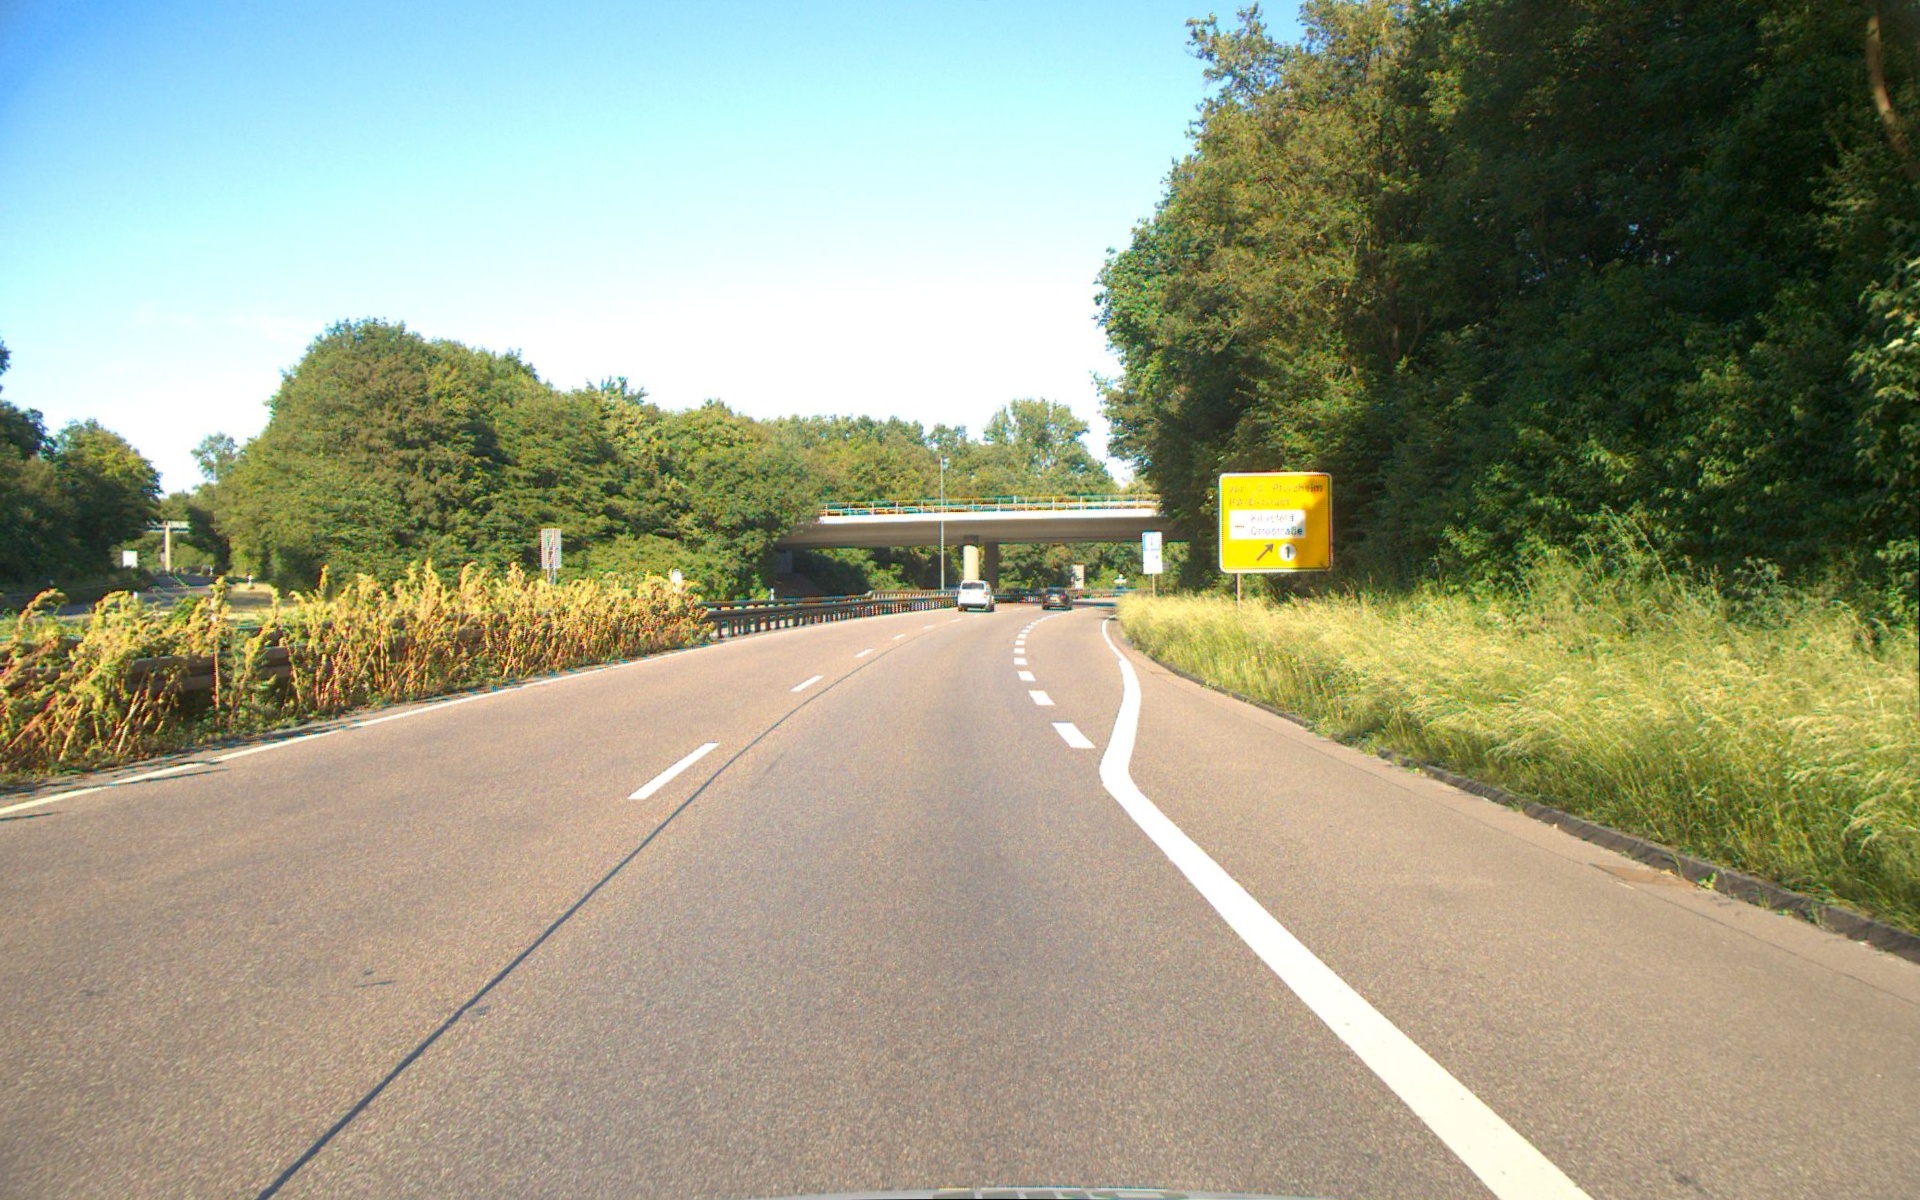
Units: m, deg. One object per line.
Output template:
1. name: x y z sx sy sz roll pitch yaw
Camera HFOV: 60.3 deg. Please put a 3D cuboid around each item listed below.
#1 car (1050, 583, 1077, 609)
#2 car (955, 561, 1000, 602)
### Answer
1. car: 6.917 -0.306 110.413 1.702 1.691 3.948 0 0 5
2. car: 1.016 -1.069 95.515 1.951 2.317 4.004 0 0 10
